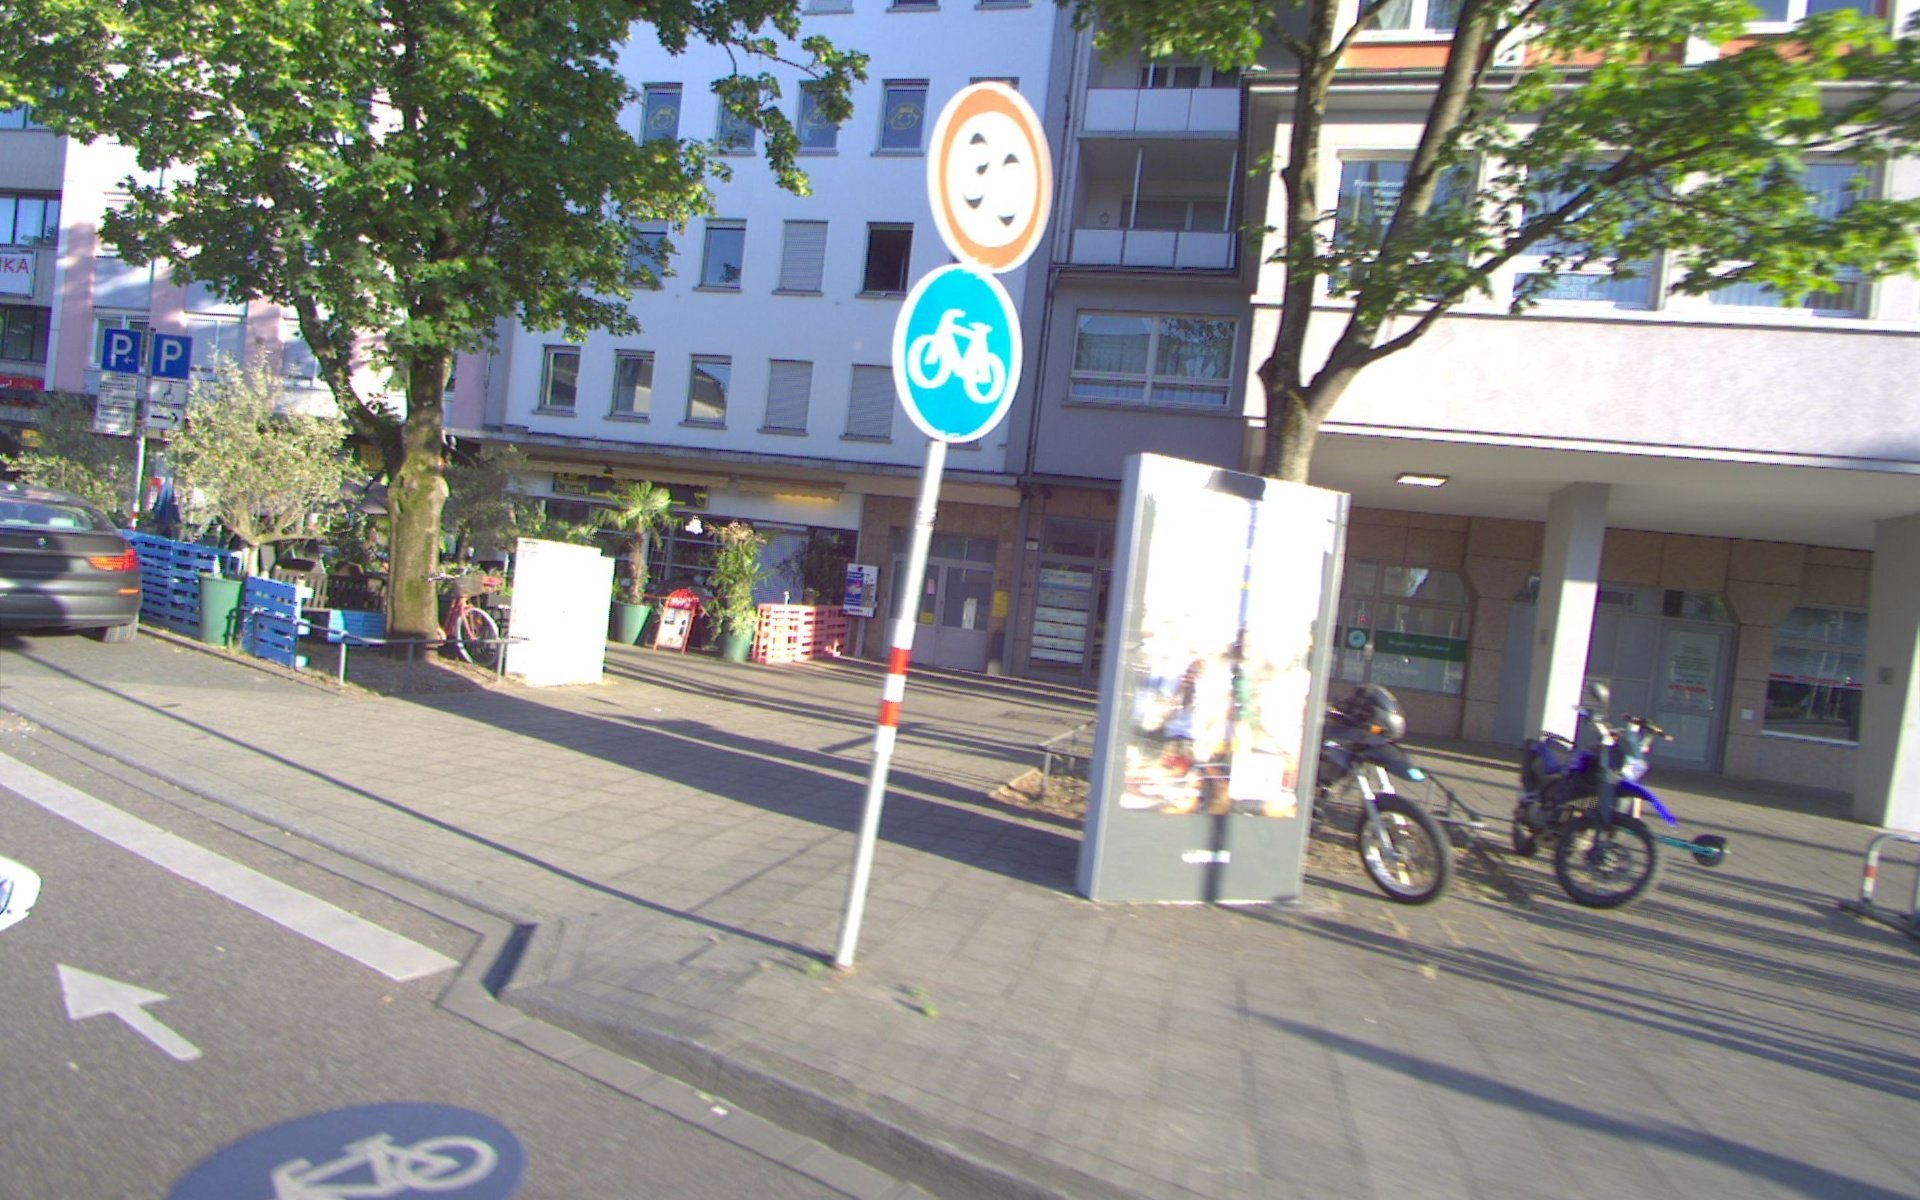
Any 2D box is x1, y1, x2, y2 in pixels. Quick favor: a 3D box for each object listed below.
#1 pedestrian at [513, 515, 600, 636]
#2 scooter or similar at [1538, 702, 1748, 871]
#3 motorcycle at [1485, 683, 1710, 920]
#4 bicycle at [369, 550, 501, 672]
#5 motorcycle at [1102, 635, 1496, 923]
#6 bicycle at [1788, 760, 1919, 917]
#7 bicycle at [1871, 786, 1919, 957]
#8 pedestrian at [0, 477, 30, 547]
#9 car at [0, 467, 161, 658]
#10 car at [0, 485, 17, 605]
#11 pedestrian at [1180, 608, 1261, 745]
[{"bbox_3d":[-6.315,-0.374,15.779,0.759,1.748,0.894,7,2,7],"label":"pedestrian"},{"bbox_3d":[6.442,1.725,9.541,1.503,1.279,0.308,7,0,38],"label":"scooter or similar"},{"bbox_3d":[4.674,1.387,7.576,0.631,1.370,2.150,7,-1,14],"label":"motorcycle"},{"bbox_3d":[-6.287,0.106,11.995,2.051,1.225,0.446,7,0,37],"label":"bicycle"},{"bbox_3d":[2.124,1.051,6.456,2.164,1.360,0.642,7,0,27],"label":"motorcycle"},{"bbox_3d":[7.504,1.896,7.710,1.760,1.040,0.365,7,0,8],"label":"bicycle"},{"bbox_3d":[7.026,1.868,6.453,1.760,1.040,0.365,7,0,8],"label":"bicycle"},{"bbox_3d":[-23.851,-2.213,24.975,0.840,1.648,0.641,7,1,15],"label":"pedestrian"},{"bbox_3d":[-10.549,-0.579,10.722,4.737,1.690,1.805,7,0,35],"label":"car"},{"bbox_3d":[-14.542,-0.971,13.757,4.004,1.553,1.650,7,0,37],"label":"car"},{"bbox_3d":[3.604,1.041,13.963,0.860,1.748,0.655,7,3,13],"label":"pedestrian"}]
